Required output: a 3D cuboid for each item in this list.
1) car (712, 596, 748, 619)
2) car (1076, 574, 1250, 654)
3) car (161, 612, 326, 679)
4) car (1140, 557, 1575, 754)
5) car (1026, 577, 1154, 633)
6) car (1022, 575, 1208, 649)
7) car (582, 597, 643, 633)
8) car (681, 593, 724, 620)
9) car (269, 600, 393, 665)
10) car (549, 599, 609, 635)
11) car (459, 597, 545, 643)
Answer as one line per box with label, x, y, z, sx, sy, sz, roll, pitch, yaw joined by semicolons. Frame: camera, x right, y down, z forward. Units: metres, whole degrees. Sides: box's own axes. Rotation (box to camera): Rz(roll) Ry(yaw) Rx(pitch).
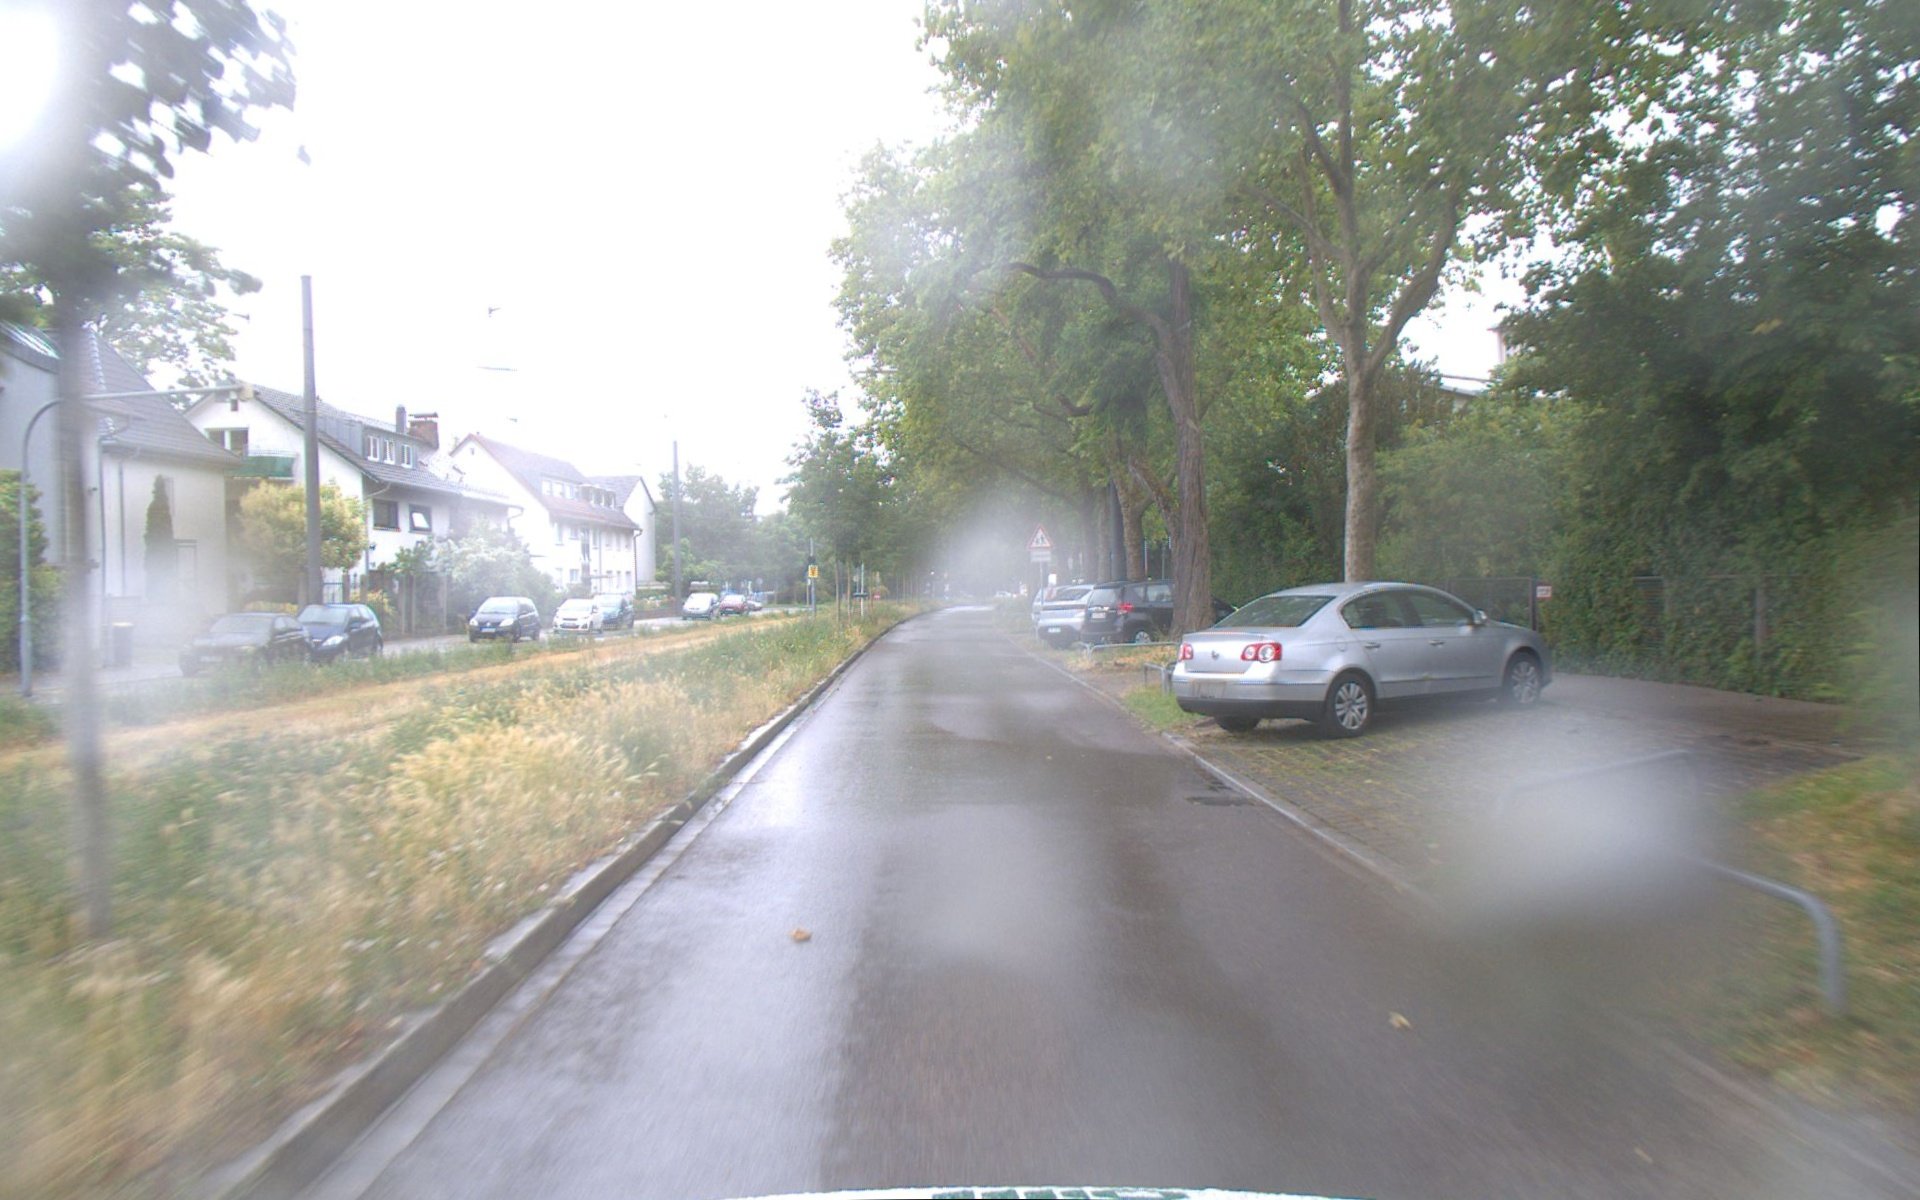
car;-16.187;0.509;116.701;1.952;1.514;4.206;1;1;0
car;4.533;0.283;36.783;3.670;1.593;1.600;-2;1;-34
car;-16.514;1.017;38.377;1.952;1.374;4.240;1;1;0
car;4.252;0.490;17.418;4.506;1.571;1.866;-5;2;-34
car;4.217;0.150;53.819;3.792;1.593;1.613;-3;1;-15
car;4.057;0.292;42.859;4.726;1.697;1.968;-3;1;-38
car;-16.596;0.698;79.254;1.952;1.642;4.413;1;1;0
car;-16.038;0.404;103.063;1.952;1.608;4.517;1;1;0
car;-16.453;0.816;43.425;1.836;1.577;3.869;1;1;-1
car;-16.642;0.724;72.427;1.759;1.514;3.597;1;1;0
car;-16.762;0.714;60.673;1.952;1.543;4.206;1;1;0
